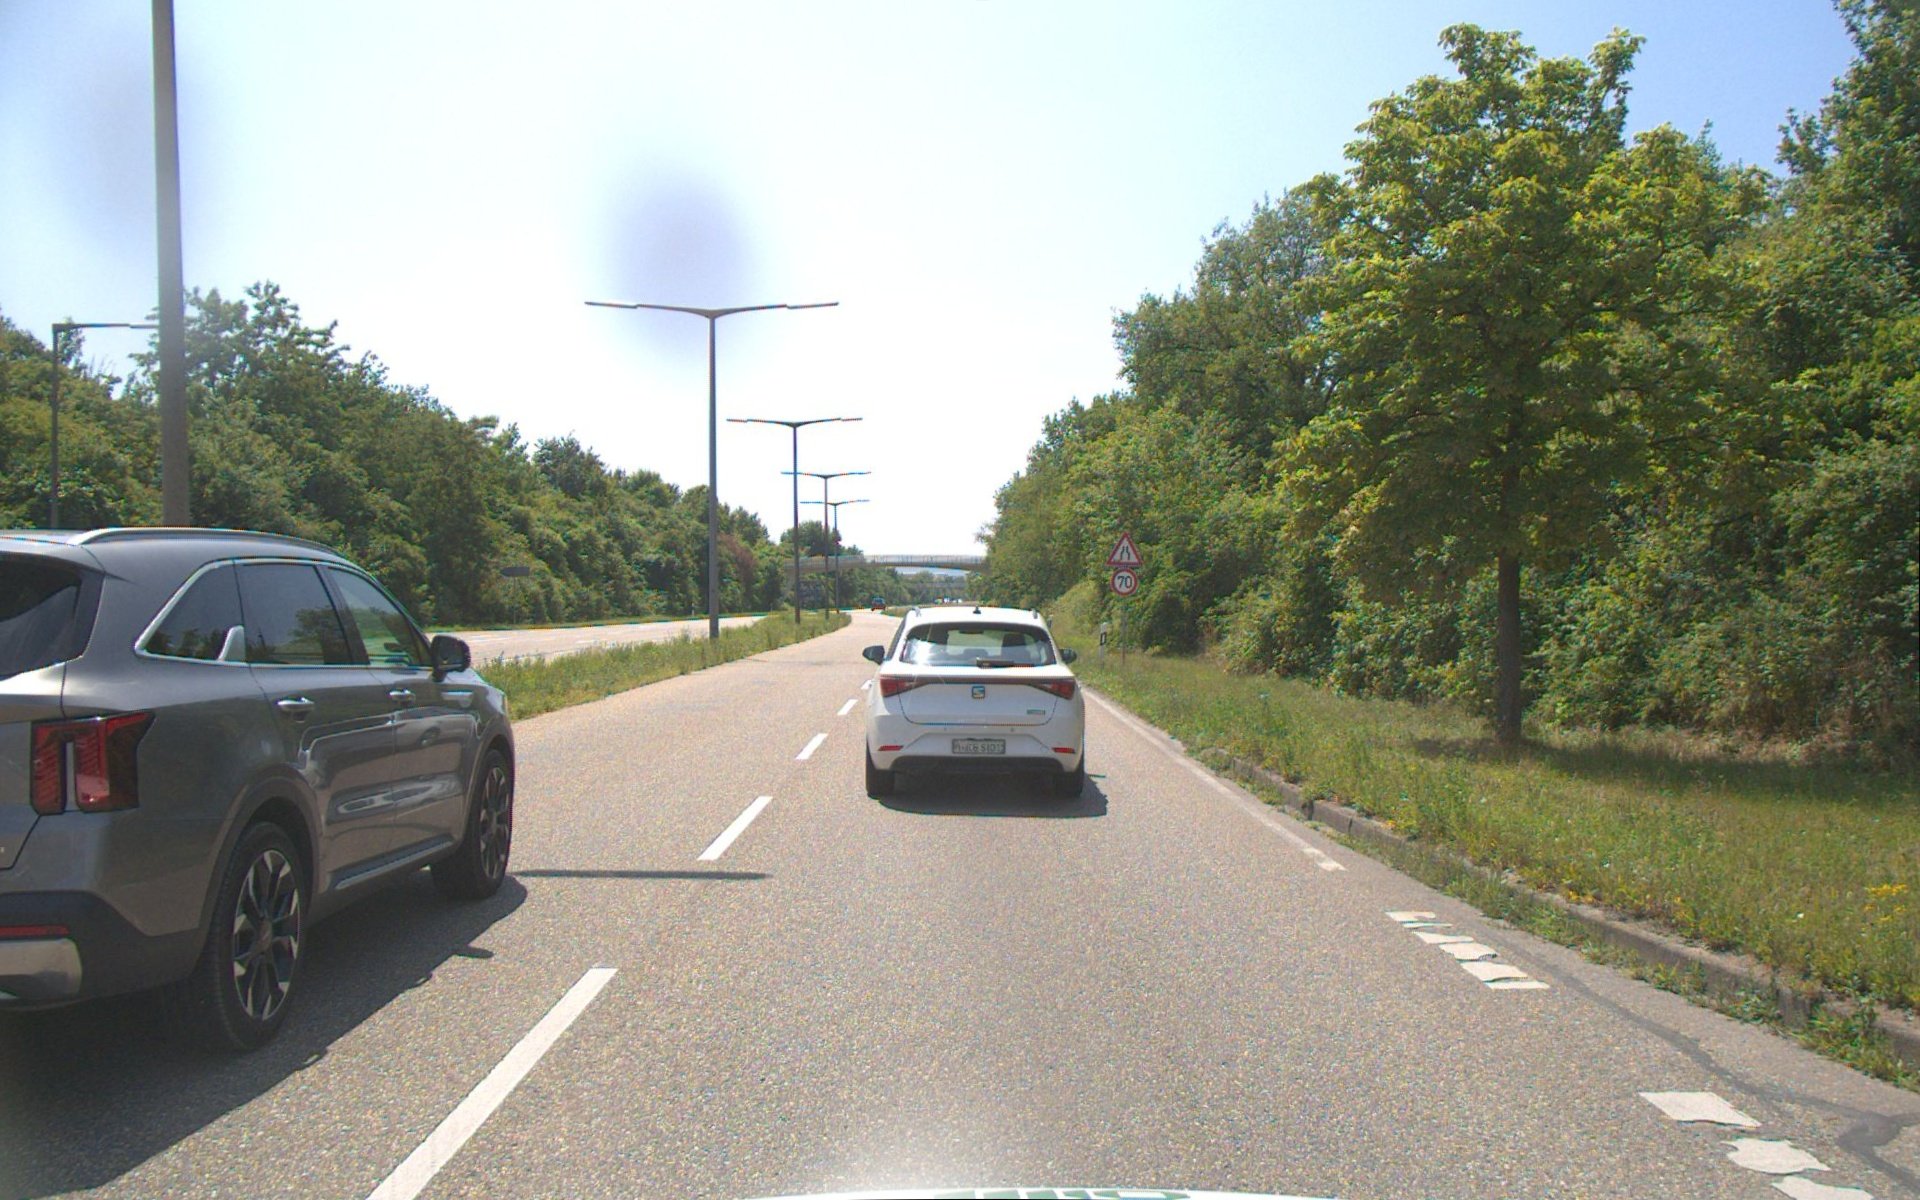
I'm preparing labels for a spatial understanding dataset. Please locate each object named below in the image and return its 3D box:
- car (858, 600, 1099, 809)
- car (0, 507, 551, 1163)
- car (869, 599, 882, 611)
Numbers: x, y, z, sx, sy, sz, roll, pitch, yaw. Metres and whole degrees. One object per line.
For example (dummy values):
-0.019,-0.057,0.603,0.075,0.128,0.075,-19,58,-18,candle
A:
0.136,0.769,13.740,1.699,1.453,3.694,1,-1,0,car
-3.094,0.610,6.592,1.767,1.691,4.644,0,0,0,car
-12.526,0.701,245.370,1.818,1.739,3.997,1,-1,-3,car
